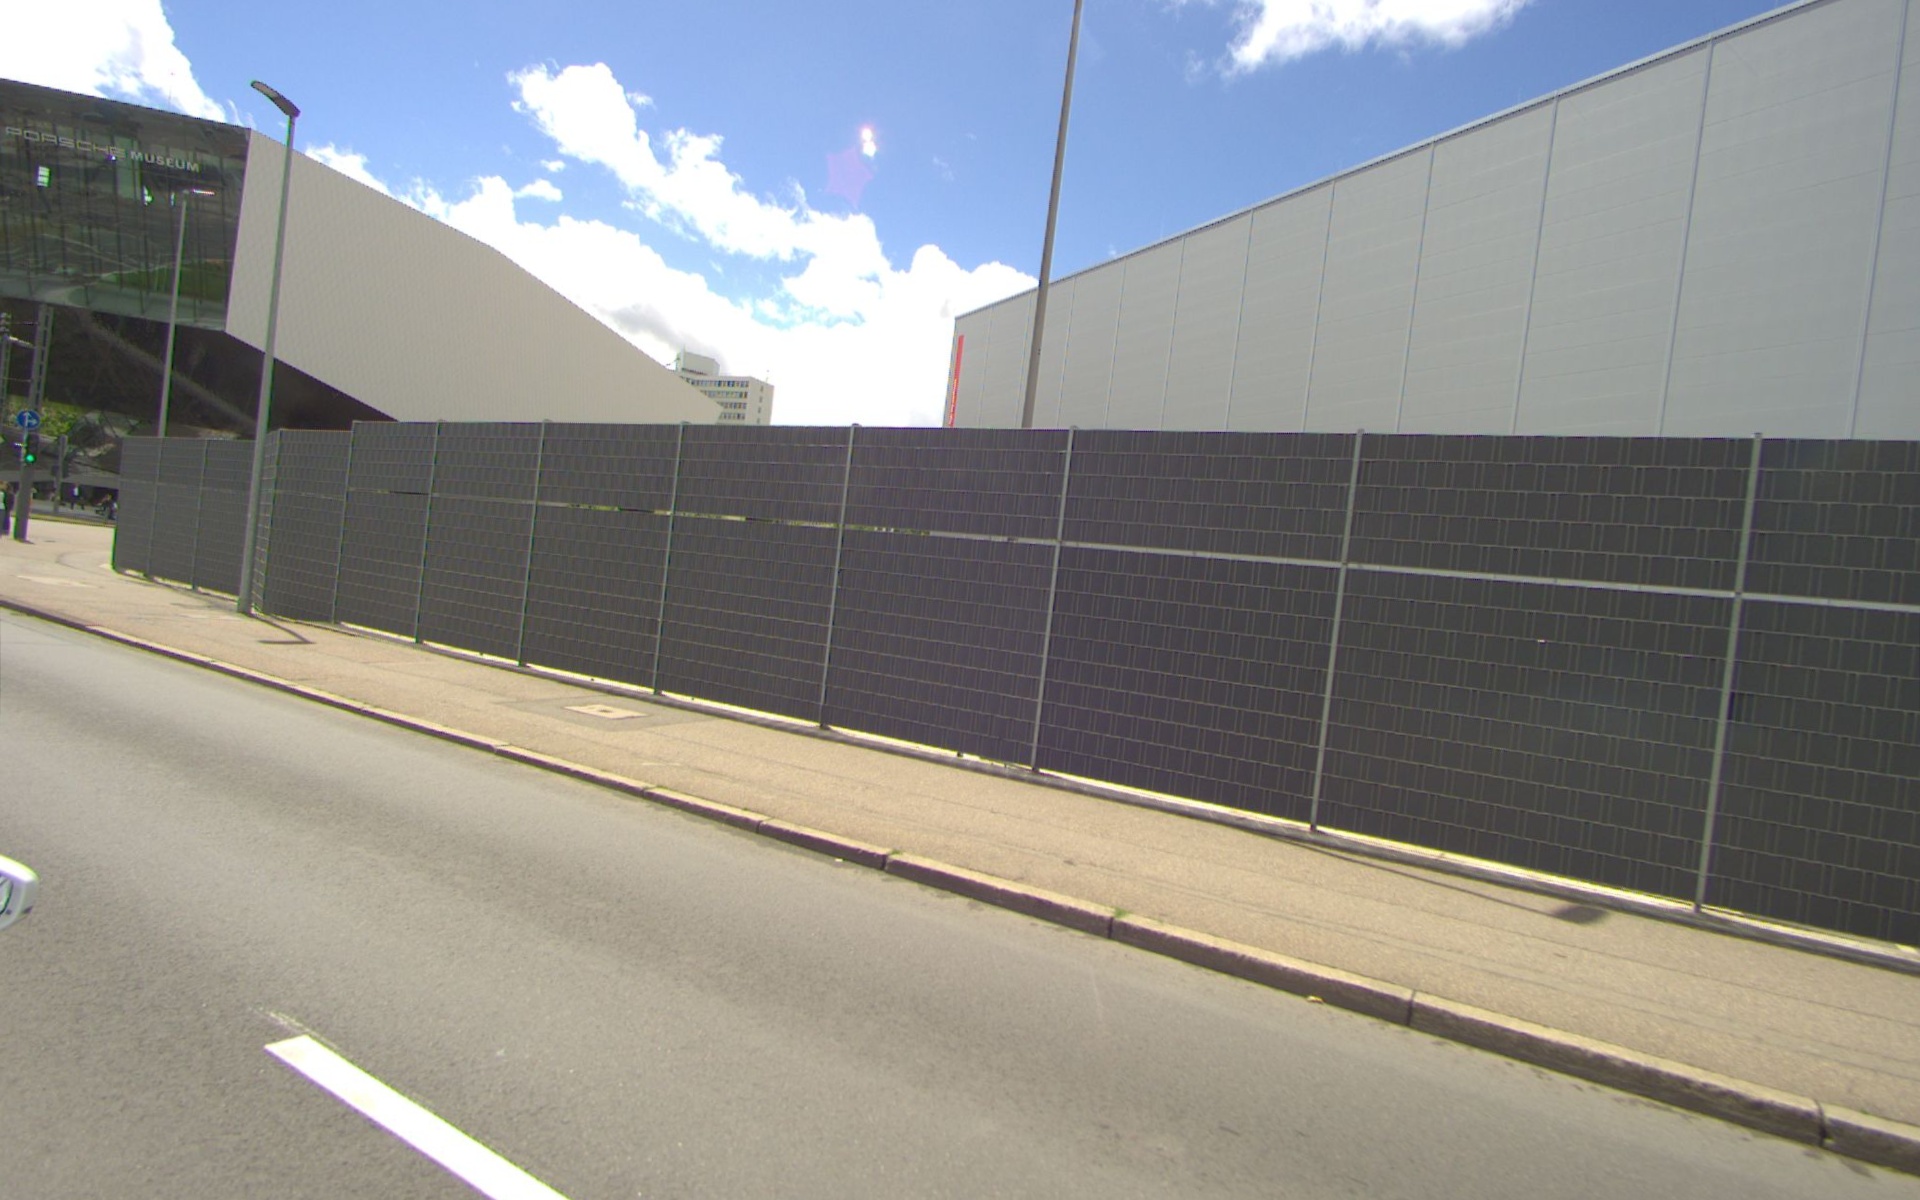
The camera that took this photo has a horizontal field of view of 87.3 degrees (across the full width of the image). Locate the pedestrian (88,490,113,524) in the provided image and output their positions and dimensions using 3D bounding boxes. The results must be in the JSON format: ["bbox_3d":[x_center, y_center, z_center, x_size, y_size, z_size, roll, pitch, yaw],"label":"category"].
[{"bbox_3d":[-46.276,-5.000,54.142,0.609,1.657,0.672,6,-1,-7],"label":"pedestrian"}]

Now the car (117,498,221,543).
[{"bbox_3d":[-42.179,-4.196,53.774,1.962,1.722,4.005,6,-2,7],"label":"car"}]

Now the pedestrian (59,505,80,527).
[{"bbox_3d":[-73.083,-6.880,82.598,0.906,1.591,0.831,6,-1,21],"label":"pedestrian"}]

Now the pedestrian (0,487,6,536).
[{"bbox_3d":[-28.918,-2.590,29.861,0.811,1.627,0.658,6,-1,41],"label":"pedestrian"}]

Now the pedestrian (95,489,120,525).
[{"bbox_3d":[-46.466,-5.065,54.809,0.662,1.816,0.619,6,-1,-13],"label":"pedestrian"}]

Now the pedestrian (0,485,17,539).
[{"bbox_3d":[-30.654,-2.825,32.156,0.652,1.635,0.464,6,-1,33],"label":"pedestrian"}]

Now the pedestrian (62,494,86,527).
[{"bbox_3d":[-58.707,-5.956,66.648,0.951,2.009,1.364,7,1,-44],"label":"pedestrian"}]

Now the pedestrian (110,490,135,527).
[{"bbox_3d":[-46.248,-5.051,55.560,0.662,1.869,0.618,6,-1,-15],"label":"pedestrian"}]

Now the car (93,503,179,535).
[{"bbox_3d":[-53.714,-5.289,65.623,1.810,1.569,3.985,5,0,36],"label":"car"}]

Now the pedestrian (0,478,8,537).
[{"bbox_3d":[-31.318,-3.038,32.269,0.778,1.888,0.662,6,-1,16],"label":"pedestrian"}]

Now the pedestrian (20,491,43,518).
[{"bbox_3d":[-58.347,-5.981,63.226,0.757,1.514,0.583,6,-1,-2],"label":"pedestrian"}]
